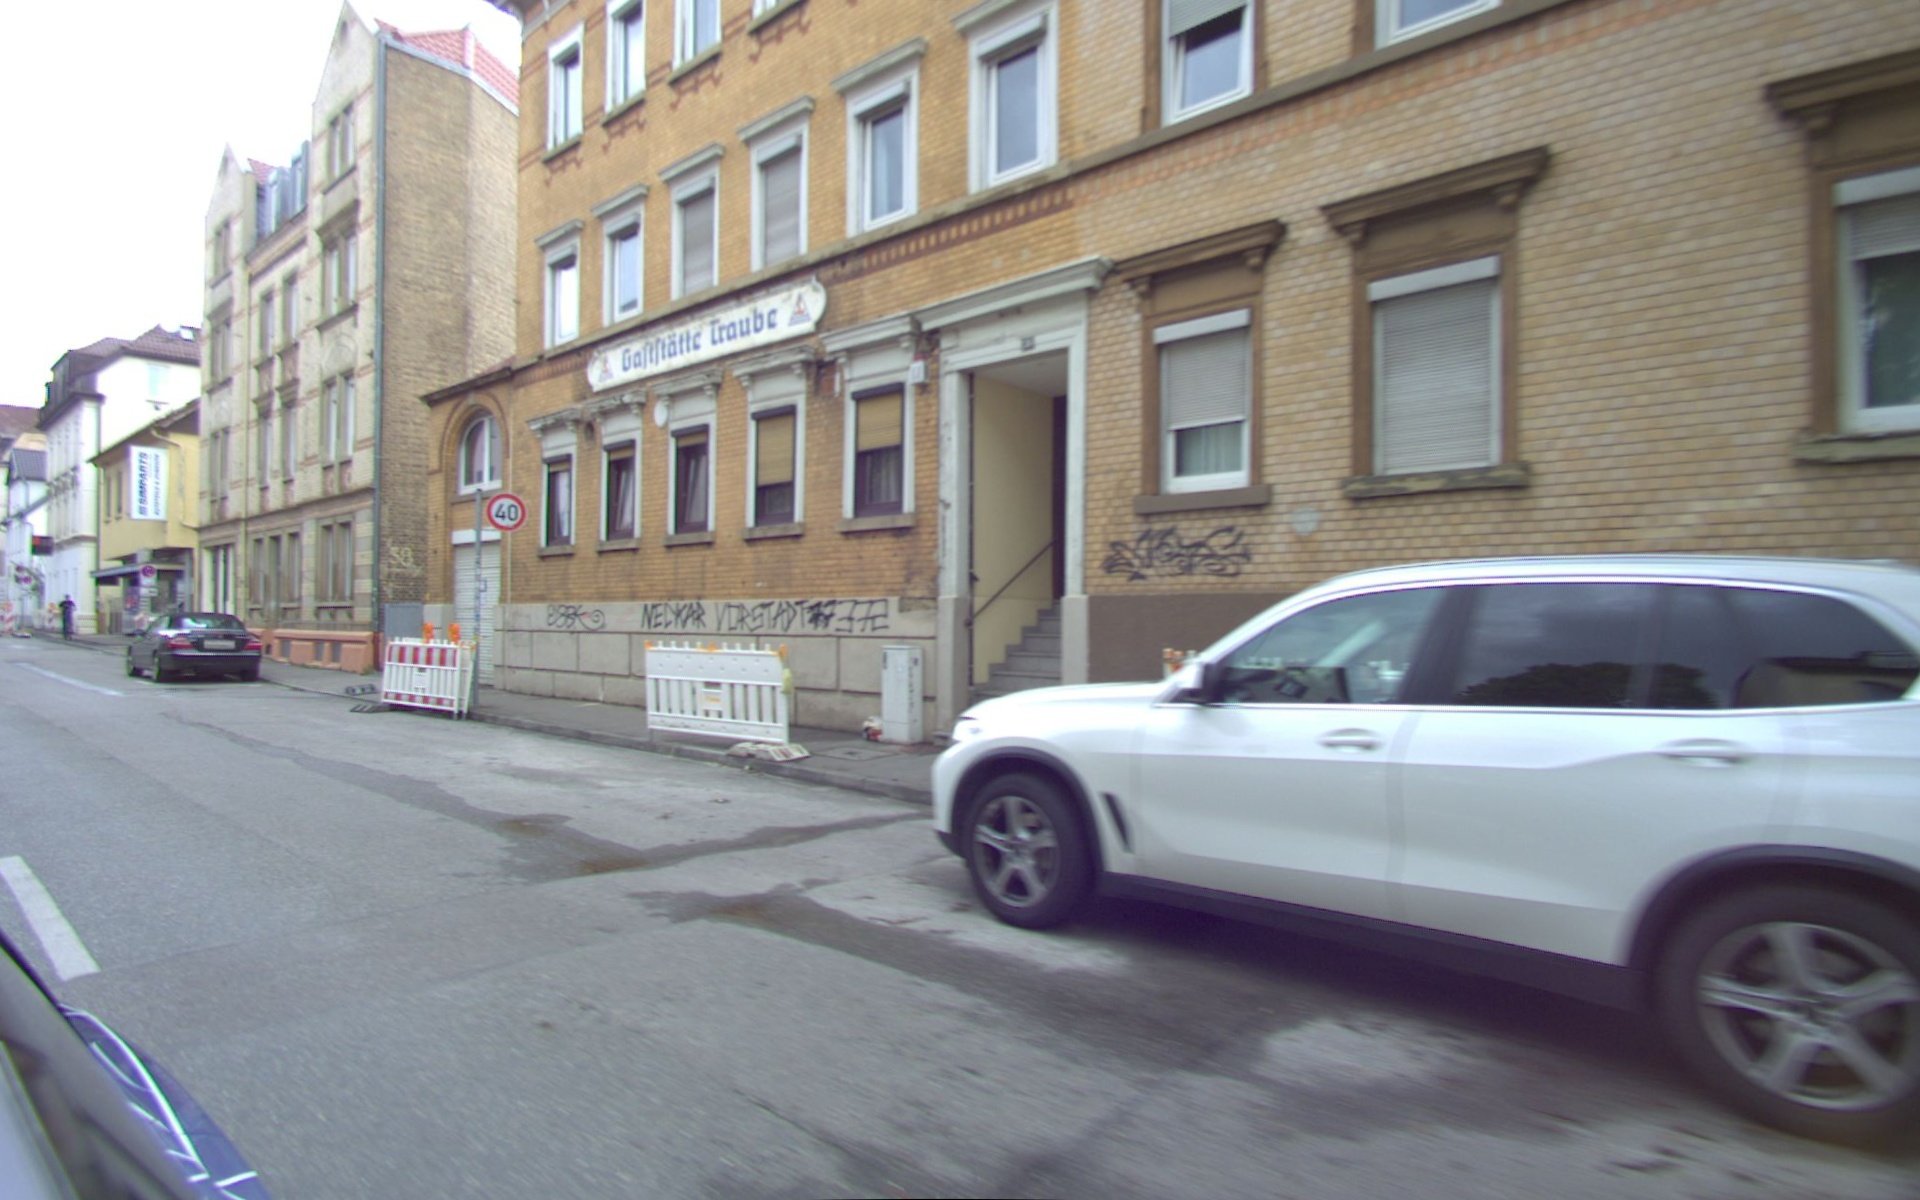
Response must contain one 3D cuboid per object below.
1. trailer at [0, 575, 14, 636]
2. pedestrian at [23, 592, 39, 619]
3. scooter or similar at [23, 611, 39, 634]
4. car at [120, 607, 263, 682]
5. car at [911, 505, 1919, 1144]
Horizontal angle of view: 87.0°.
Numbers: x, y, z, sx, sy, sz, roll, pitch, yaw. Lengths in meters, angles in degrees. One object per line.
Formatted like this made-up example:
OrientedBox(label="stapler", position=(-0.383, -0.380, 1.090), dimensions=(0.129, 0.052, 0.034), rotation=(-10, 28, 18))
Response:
OrientedBox(label="trailer", position=(-47.740, 0.237, 48.927), dimensions=(6.303, 2.825, 2.418), rotation=(0, -2, 43))
OrientedBox(label="pedestrian", position=(-54.161, 0.313, 58.997), dimensions=(0.607, 1.578, 0.594), rotation=(1, 0, 41))
OrientedBox(label="scooter or similar", position=(-54.126, 1.327, 58.962), dimensions=(1.227, 1.300, 0.554), rotation=(1, 0, 41))
OrientedBox(label="car", position=(-16.122, 0.887, 21.153), dimensions=(4.353, 1.393, 1.562), rotation=(0, -3, 42))
OrientedBox(label="car", position=(2.149, 0.649, 4.412), dimensions=(4.739, 1.725, 1.871), rotation=(0, -3, 42))
